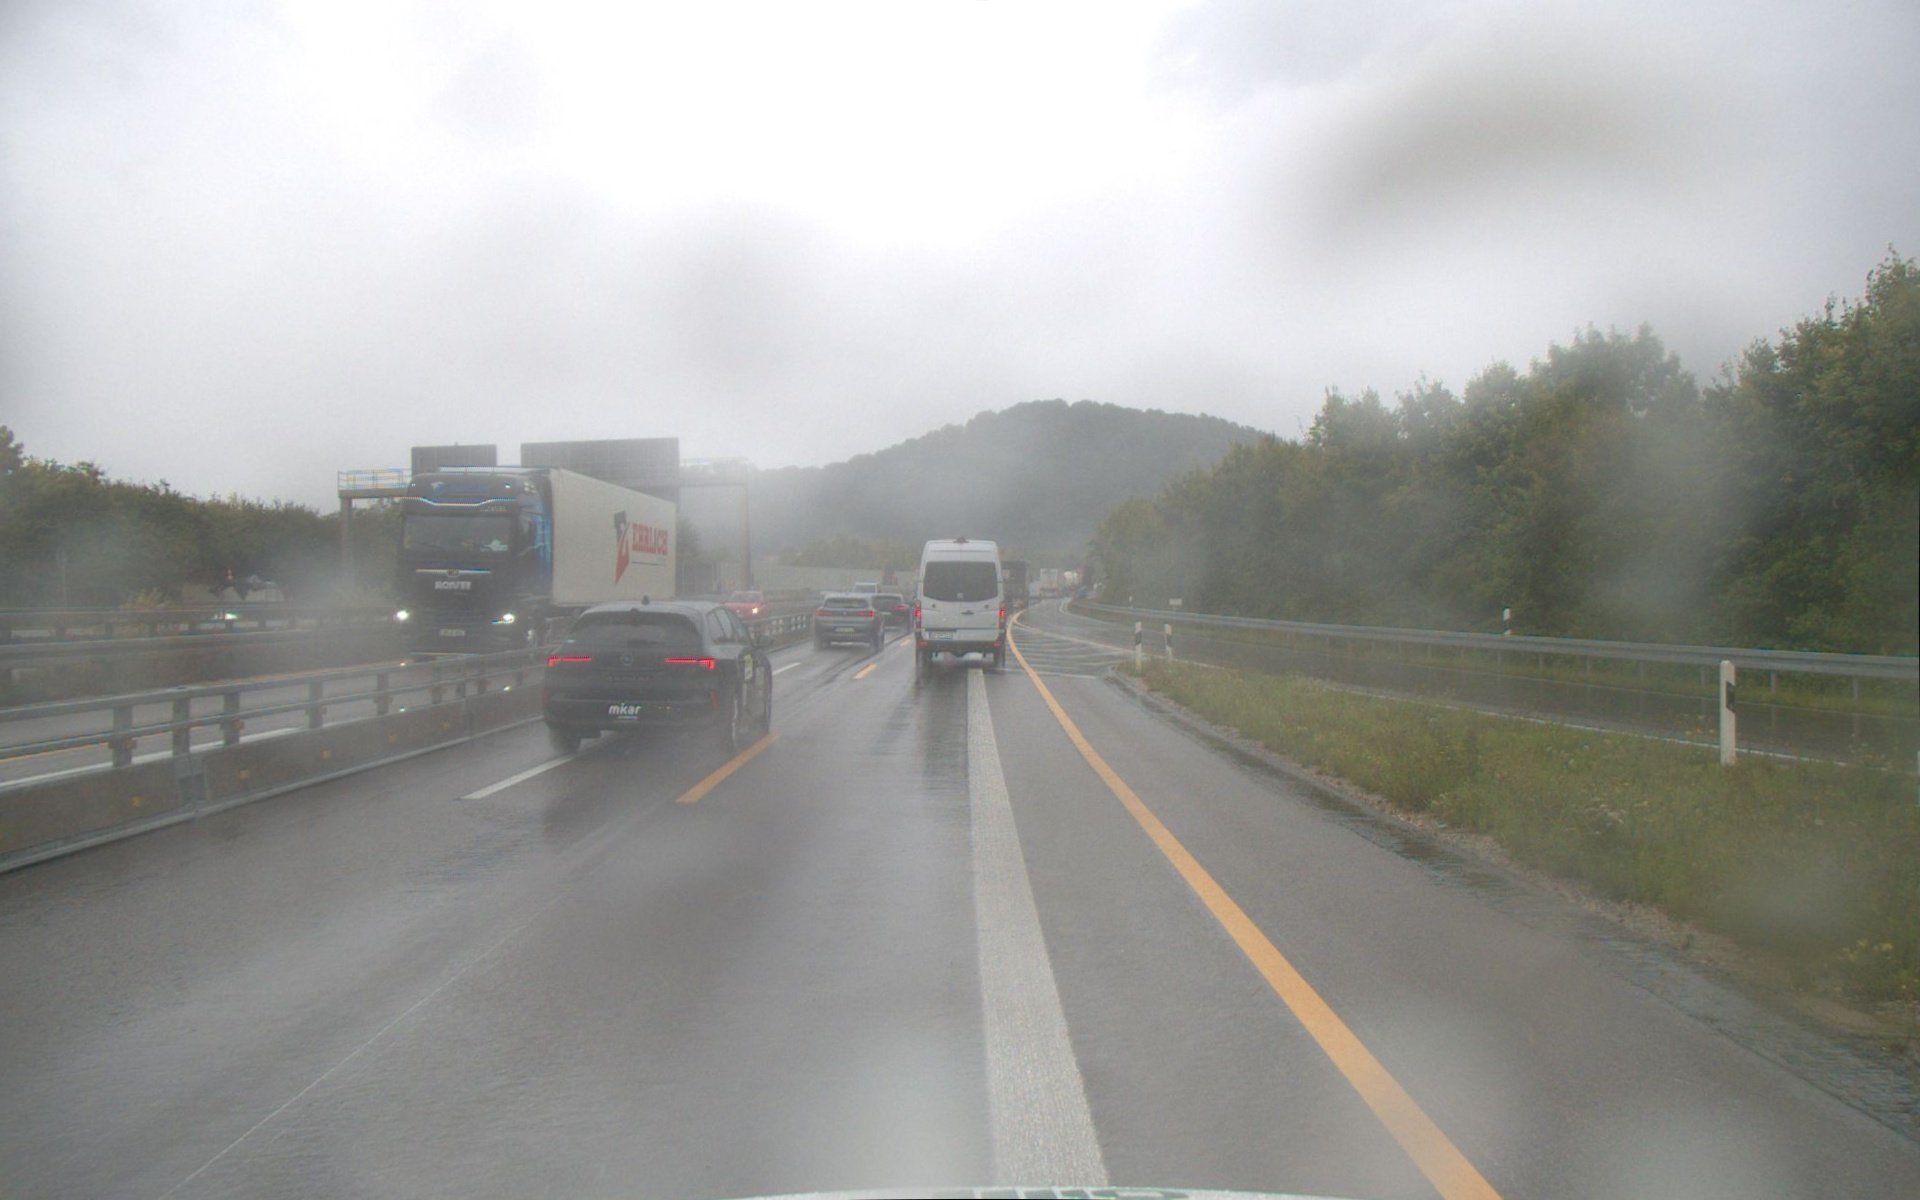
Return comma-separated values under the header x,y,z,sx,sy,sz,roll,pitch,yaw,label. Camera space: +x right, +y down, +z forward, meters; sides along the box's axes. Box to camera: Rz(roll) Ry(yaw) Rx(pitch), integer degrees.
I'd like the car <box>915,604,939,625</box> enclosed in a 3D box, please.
x,y,z,sx,sy,sz,roll,pitch,yaw,label
-1.764,0.758,89.897,1.237,1.097,3.254,0,0,0,car

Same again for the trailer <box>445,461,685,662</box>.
x,y,z,sx,sy,sz,roll,pitch,yaw,label
-9.652,-0.790,42.387,2.833,4.361,12.896,0,-1,1,trailer

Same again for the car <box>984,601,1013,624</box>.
x,y,z,sx,sy,sz,roll,pitch,yaw,label
2.185,0.698,93.550,1.357,1.278,3.120,0,0,-4,car

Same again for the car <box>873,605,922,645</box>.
x,y,z,sx,sy,sz,roll,pitch,yaw,label
-2.462,0.978,65.935,1.814,1.527,3.999,0,0,-1,car

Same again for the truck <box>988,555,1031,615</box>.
x,y,z,sx,sy,sz,roll,pitch,yaw,label
4.157,-1.177,140.908,3.252,4.868,9.906,1,0,0,truck

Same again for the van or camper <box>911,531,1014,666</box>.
x,y,z,sx,sy,sz,roll,pitch,yaw,label
0.053,-0.018,36.391,2.095,2.769,4.648,0,0,0,van or camper

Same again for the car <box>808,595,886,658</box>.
x,y,z,sx,sy,sz,roll,pitch,yaw,label
-3.120,0.721,46.428,1.829,1.688,3.988,0,0,1,car

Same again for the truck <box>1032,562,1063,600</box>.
x,y,z,sx,sy,sz,roll,pitch,yaw,label
11.760,-2.497,221.476,3.845,4.868,9.912,1,0,5,truck

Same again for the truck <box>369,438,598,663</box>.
x,y,z,sx,sy,sz,roll,pitch,yaw,label
-9.815,-0.922,34.839,2.829,4.306,6.327,0,-1,1,truck

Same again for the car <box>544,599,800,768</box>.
x,y,z,sx,sy,sz,roll,pitch,yaw,label
-2.743,0.735,16.811,1.900,1.452,4.758,1,0,-2,car

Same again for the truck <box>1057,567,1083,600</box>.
x,y,z,sx,sy,sz,roll,pitch,yaw,label
17.307,-2.562,259.956,3.845,4.868,9.912,1,0,5,truck

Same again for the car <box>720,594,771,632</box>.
x,y,z,sx,sy,sz,roll,pitch,yaw,label
-9.119,0.552,70.558,1.575,1.530,4.216,2,0,0,car

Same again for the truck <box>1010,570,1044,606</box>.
x,y,z,sx,sy,sz,roll,pitch,yaw,label
7.324,-1.273,182.326,3.252,3.827,9.906,1,0,0,truck

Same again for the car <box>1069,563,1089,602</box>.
x,y,z,sx,sy,sz,roll,pitch,yaw,label
13.444,-1.923,186.733,2.015,4.265,6.748,0,0,2,car
